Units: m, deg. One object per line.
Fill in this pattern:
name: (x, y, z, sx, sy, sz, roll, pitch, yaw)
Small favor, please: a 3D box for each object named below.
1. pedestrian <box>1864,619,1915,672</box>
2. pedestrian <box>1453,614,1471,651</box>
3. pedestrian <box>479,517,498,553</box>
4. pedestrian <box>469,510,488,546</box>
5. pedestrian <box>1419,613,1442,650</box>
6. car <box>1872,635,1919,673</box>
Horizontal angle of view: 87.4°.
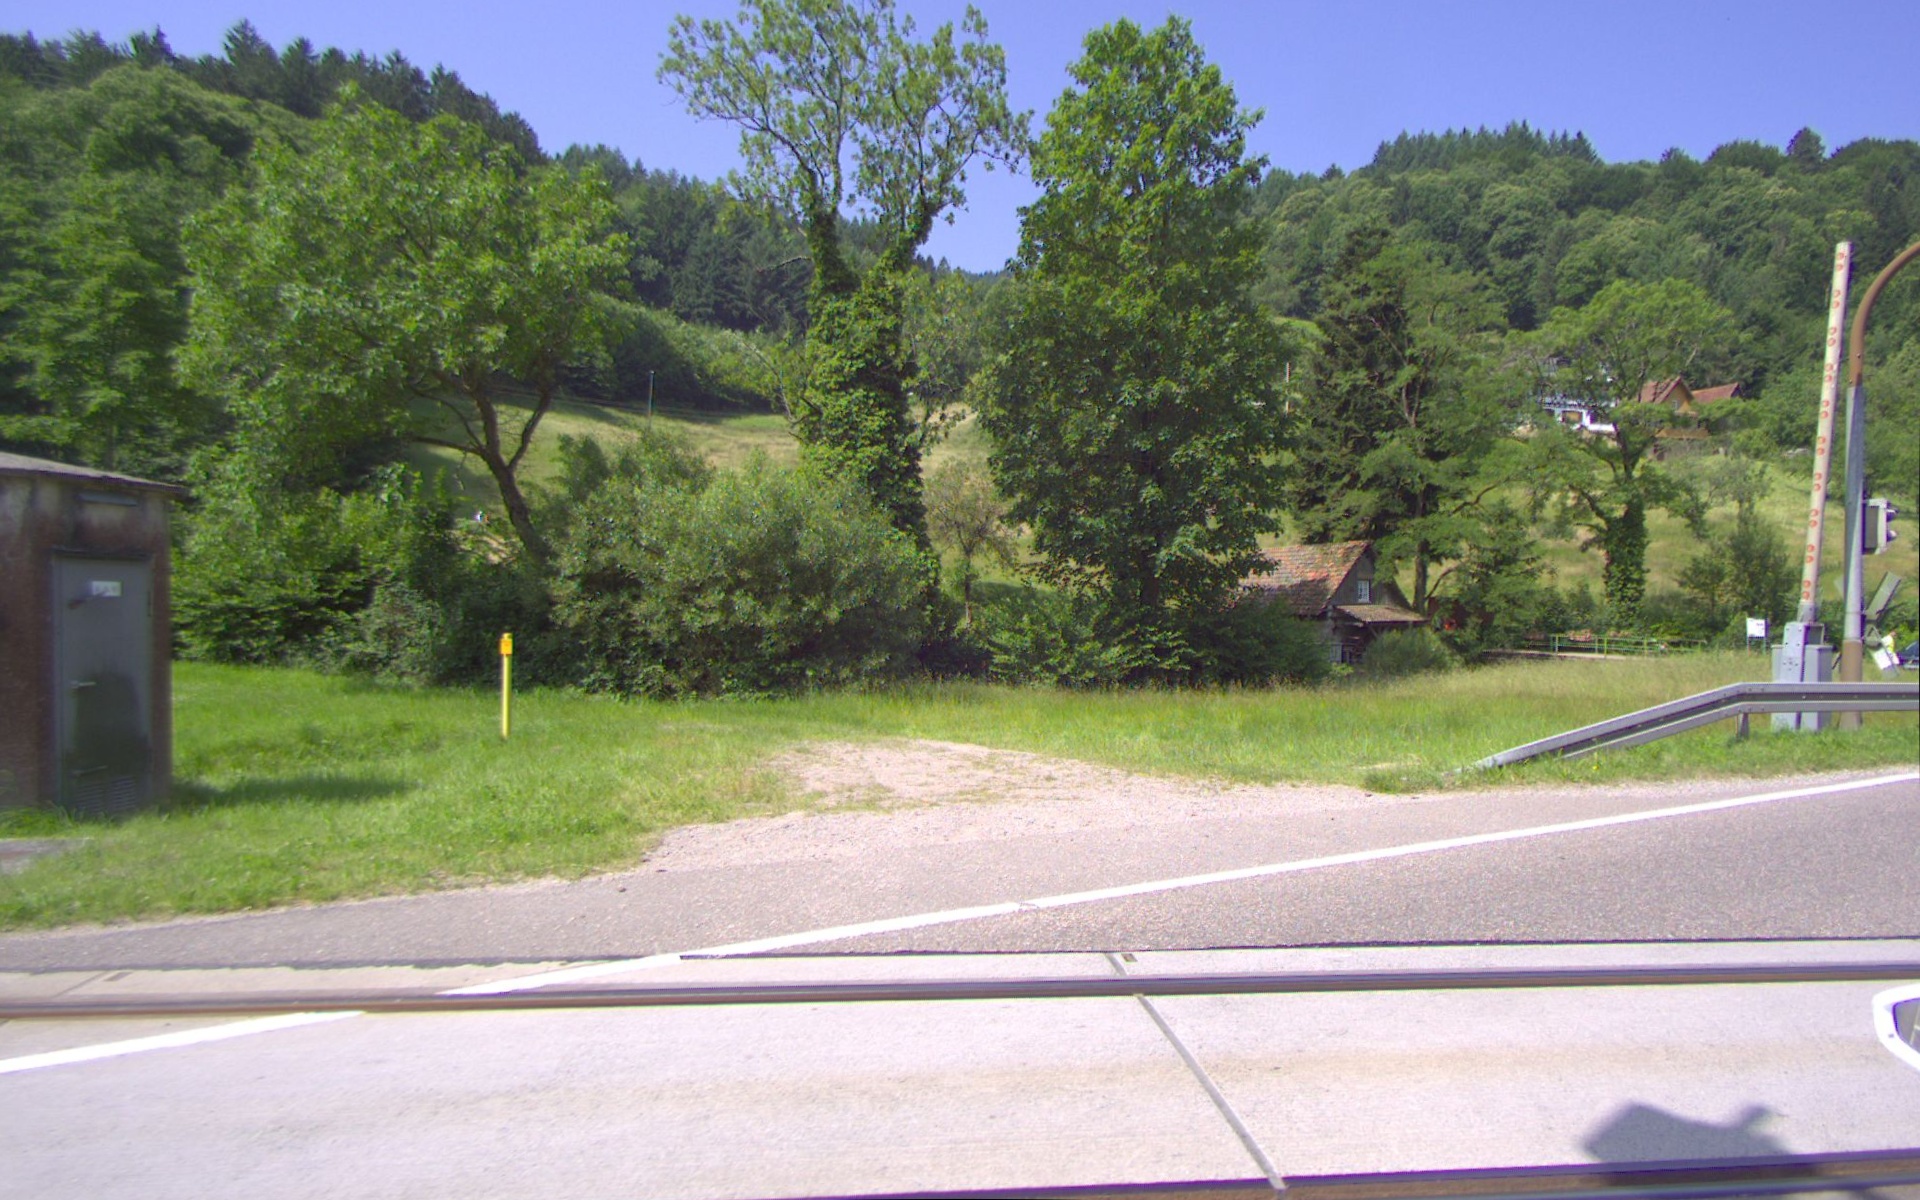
pedestrian: (35.249, 1.720, 38.094, 0.845, 1.995, 1.130, 1, -2, -1)
pedestrian: (28.510, 1.843, 57.030, 0.915, 2.040, 0.700, 0, -2, 26)
pedestrian: (-33.498, -4.586, 71.302, 1.061, 2.397, 1.073, 1, -1, -33)
pedestrian: (-33.533, -5.010, 69.927, 1.061, 2.397, 1.073, 1, -1, -33)
pedestrian: (26.801, 1.790, 57.220, 0.917, 2.040, 0.699, 2, -2, -16)
car: (39.761, 2.206, 40.912, 4.452, 1.520, 1.992, 2, -2, -19)
